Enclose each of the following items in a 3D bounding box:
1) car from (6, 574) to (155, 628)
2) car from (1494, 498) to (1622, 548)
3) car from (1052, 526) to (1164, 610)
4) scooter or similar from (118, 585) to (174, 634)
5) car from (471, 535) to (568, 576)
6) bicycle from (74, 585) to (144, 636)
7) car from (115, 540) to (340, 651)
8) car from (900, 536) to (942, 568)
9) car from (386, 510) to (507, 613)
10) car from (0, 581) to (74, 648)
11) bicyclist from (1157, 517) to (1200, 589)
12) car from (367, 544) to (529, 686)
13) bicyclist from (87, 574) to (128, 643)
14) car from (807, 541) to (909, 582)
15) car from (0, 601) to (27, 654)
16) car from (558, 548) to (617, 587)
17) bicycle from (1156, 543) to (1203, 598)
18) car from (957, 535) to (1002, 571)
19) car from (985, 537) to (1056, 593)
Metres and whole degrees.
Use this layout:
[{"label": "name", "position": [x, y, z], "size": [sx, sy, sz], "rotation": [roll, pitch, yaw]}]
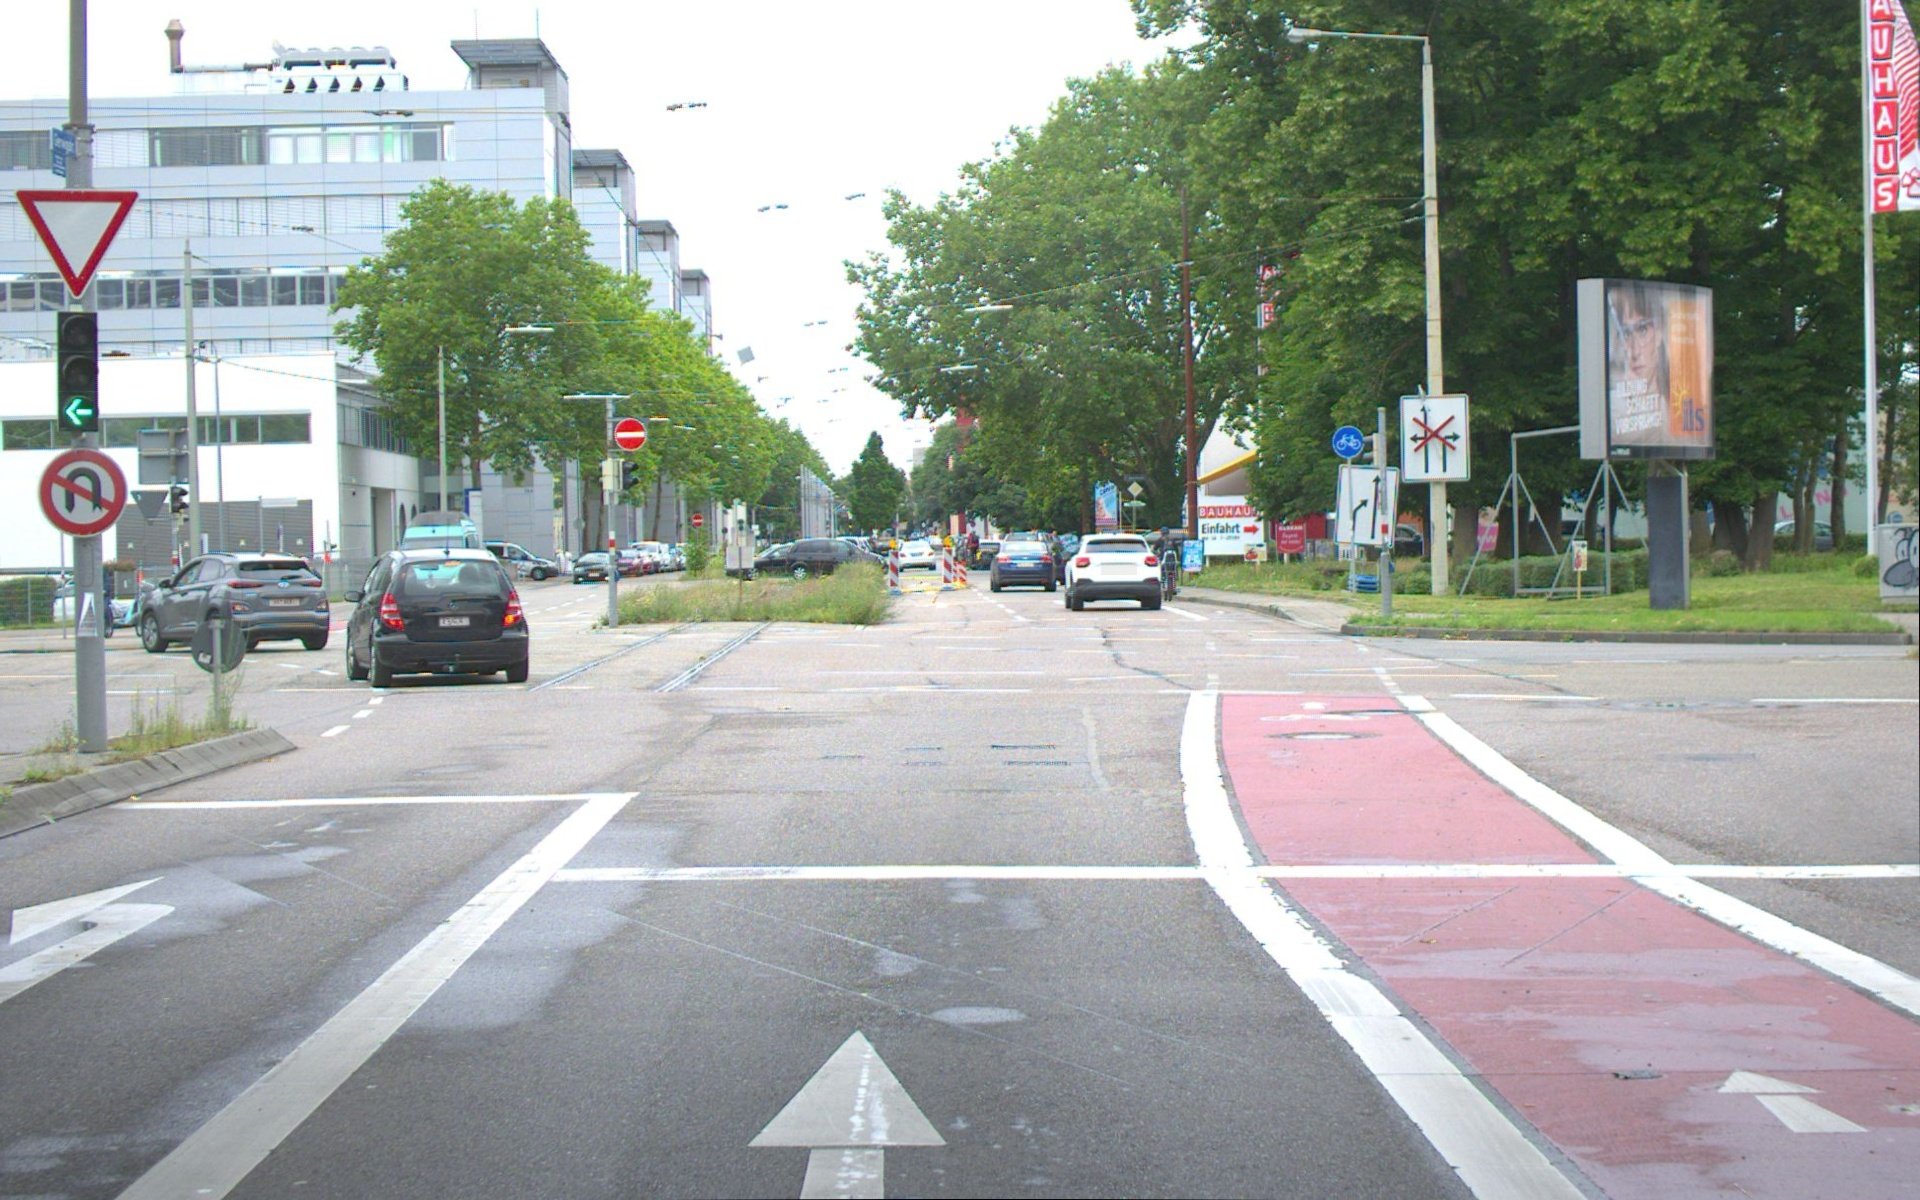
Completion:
[{"label": "car", "position": [-29.656, 0.036, 115.986], "size": [4.526, 1.628, 1.913], "rotation": [-2, 1, -3]}, {"label": "car", "position": [23.157, -2.979, 133.172], "size": [4.553, 1.784, 2.074], "rotation": [-1, 2, -1]}, {"label": "car", "position": [2.928, -0.662, 68.722], "size": [1.823, 1.595, 3.776], "rotation": [0, 2, -4]}, {"label": "scooter or similar", "position": [-18.449, 0.206, 77.959], "size": [0.646, 1.058, 1.449], "rotation": [1, 2, 14]}, {"label": "car", "position": [-20.927, -2.135, 163.413], "size": [4.411, 1.777, 1.826], "rotation": [-2, 1, -2]}, {"label": "bicycle", "position": [-18.878, 0.222, 76.299], "size": [0.646, 1.058, 1.999], "rotation": [1, 2, 14]}, {"label": "car", "position": [-11.553, -0.102, 54.140], "size": [1.774, 1.647, 3.667], "rotation": [-2, 2, -44]}, {"label": "car", "position": [-1.875, -2.315, 165.572], "size": [1.795, 1.508, 3.706], "rotation": [0, 2, -4]}, {"label": "car", "position": [-14.680, -1.126, 98.694], "size": [2.328, 2.816, 5.949], "rotation": [-2, 1, 2]}, {"label": "car", "position": [-23.398, 0.379, 82.581], "size": [3.660, 1.522, 1.773], "rotation": [-1, 1, 18]}, {"label": "bicyclist", "position": [5.012, -1.084, 78.937], "size": [0.816, 1.624, 1.235], "rotation": [-2, 1, -1]}, {"label": "car", "position": [-5.951, 0.135, 40.001], "size": [1.768, 1.522, 3.670], "rotation": [0, 2, -8]}, {"label": "bicyclist", "position": [-18.899, 0.189, 76.226], "size": [0.646, 1.513, 0.626], "rotation": [1, 2, 14]}, {"label": "car", "position": [-3.938, -1.486, 132.755], "size": [3.883, 1.550, 1.825], "rotation": [0, 1, -1]}, {"label": "car", "position": [-30.451, 0.880, 103.425], "size": [4.211, 1.527, 1.913], "rotation": [-2, 1, 1]}, {"label": "car", "position": [-15.406, -1.331, 142.349], "size": [1.819, 1.470, 4.130], "rotation": [-3, 0, 1]}, {"label": "bicycle", "position": [5.028, -0.682, 78.947], "size": [0.816, 1.208, 2.683], "rotation": [-2, 1, -1]}, {"label": "car", "position": [0.902, -2.229, 161.850], "size": [1.877, 1.627, 4.001], "rotation": [-2, 1, -2]}, {"label": "car", "position": [1.692, -1.000, 96.856], "size": [1.684, 1.508, 3.706], "rotation": [0, 2, -4]}]
